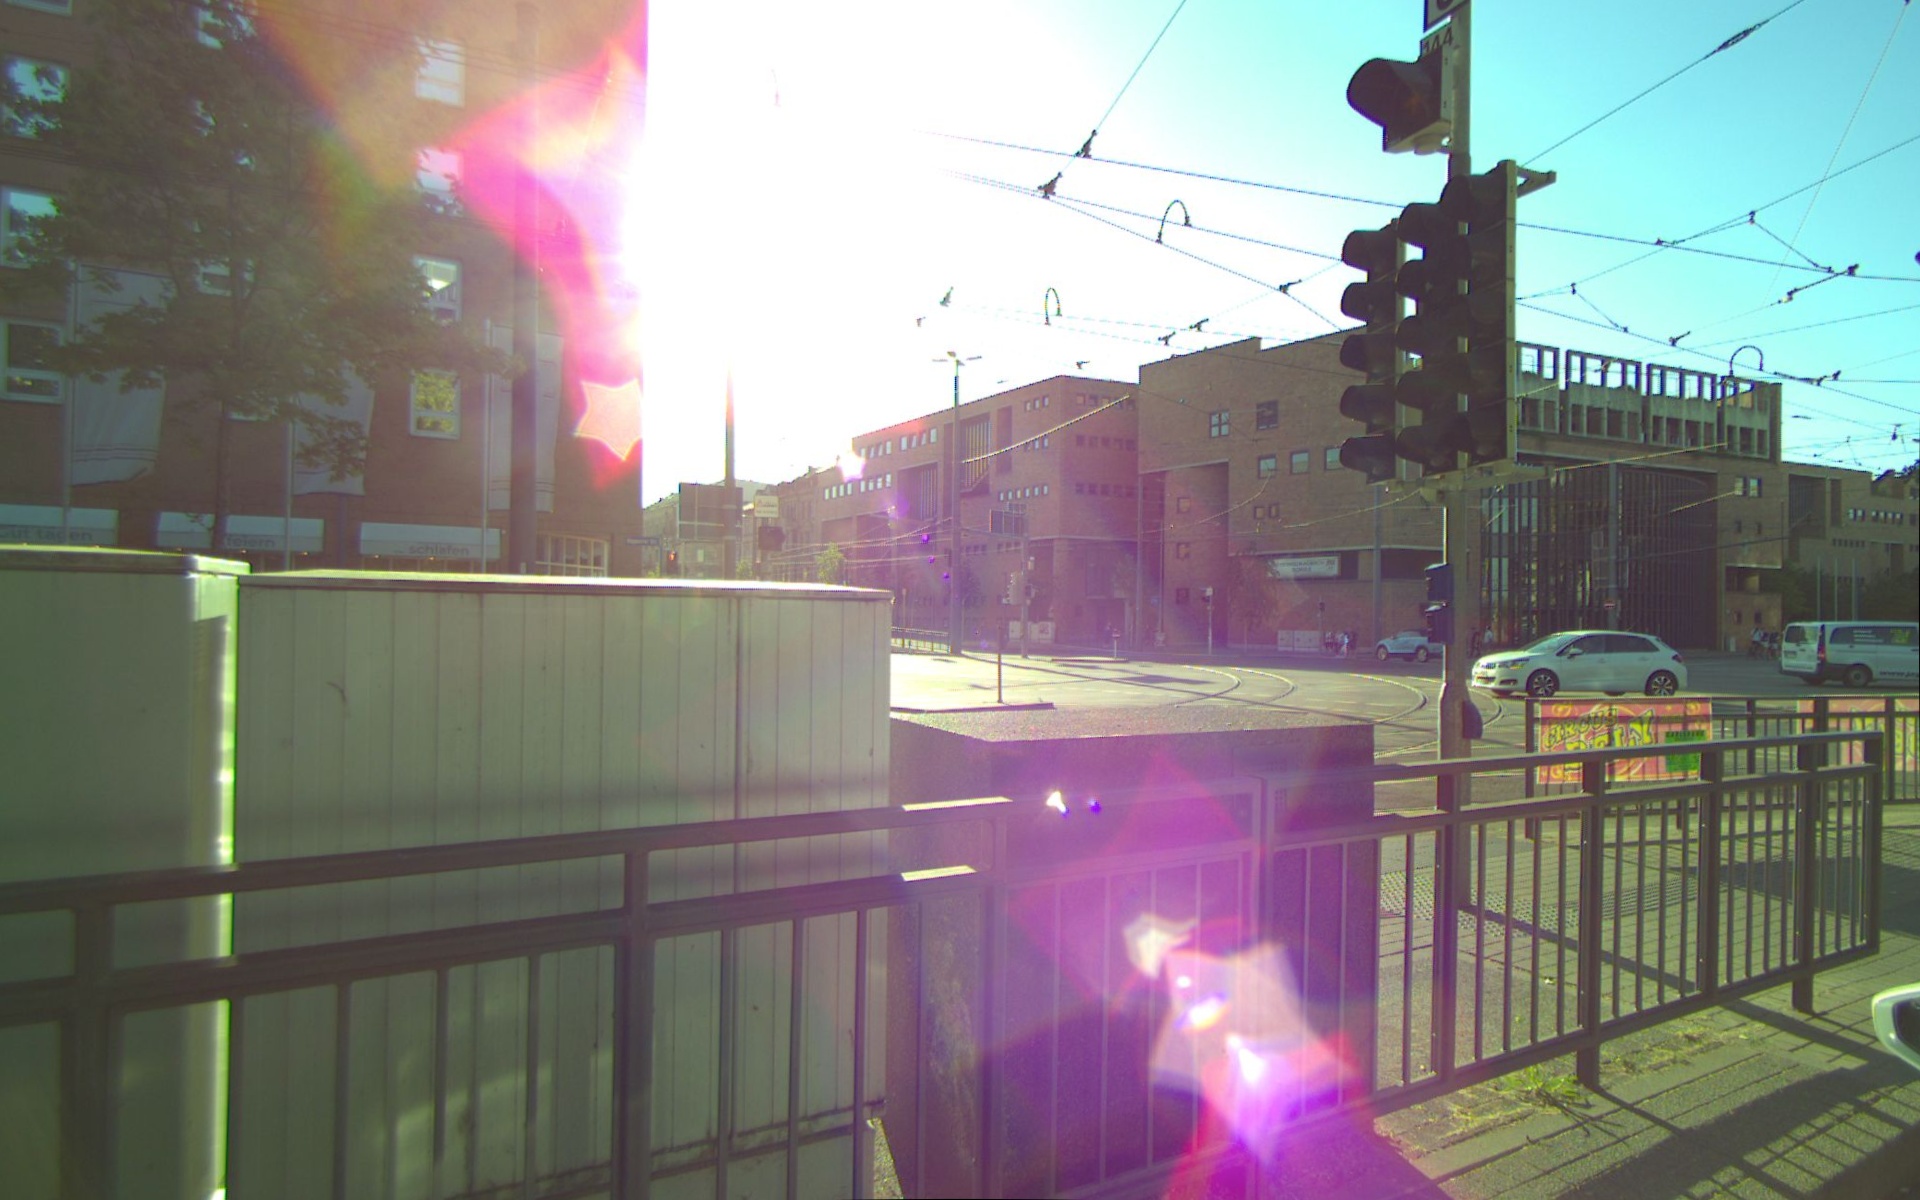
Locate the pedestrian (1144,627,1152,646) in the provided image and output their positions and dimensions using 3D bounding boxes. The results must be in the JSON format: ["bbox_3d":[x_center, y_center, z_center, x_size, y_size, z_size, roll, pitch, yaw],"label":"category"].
[{"bbox_3d":[14.268,2.773,76.298,0.523,1.482,0.591,0,-1,3],"label":"pedestrian"}]

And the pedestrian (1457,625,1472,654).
[{"bbox_3d":[29.327,2.303,58.394,0.540,1.706,0.572,1,-1,-12],"label":"pedestrian"}]

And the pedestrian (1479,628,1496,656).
[{"bbox_3d":[30.393,2.416,57.898,0.607,1.647,0.611,1,-1,-11],"label":"pedestrian"}]

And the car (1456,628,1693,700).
[{"bbox_3d":[13.672,1.404,22.516,4.223,1.508,1.762,0,-1,1],"label":"car"}]

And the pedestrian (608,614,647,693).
[{"bbox_3d":[-7.894,1.255,23.838,0.713,1.837,0.904,1,-1,-28],"label":"pedestrian"}]

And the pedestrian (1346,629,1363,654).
[{"bbox_3d":[22.251,2.339,56.699,0.670,1.357,0.603,1,-1,-14],"label":"pedestrian"}]

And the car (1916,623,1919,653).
[{"bbox_3d":[55.248,2.112,55.891,3.954,1.661,1.983,1,-2,-31],"label":"car"}]

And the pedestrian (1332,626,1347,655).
[{"bbox_3d":[21.764,2.329,57.591,0.543,1.670,0.596,1,-1,-30],"label":"pedestrian"}]

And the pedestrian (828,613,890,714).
[{"bbox_3d":[-1.722,1.058,17.084,0.709,1.669,0.953,1,-1,-30],"label":"pedestrian"}]

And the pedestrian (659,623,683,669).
[{"bbox_3d":[-10.516,1.658,36.525,0.658,1.669,0.638,1,-1,-34],"label":"pedestrian"}]

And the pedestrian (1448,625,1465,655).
[{"bbox_3d":[28.295,2.267,57.216,0.611,1.706,0.650,1,-1,-9],"label":"pedestrian"}]

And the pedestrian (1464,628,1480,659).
[{"bbox_3d":[28.665,2.412,56.205,0.541,1.706,0.591,1,-1,-11],"label":"pedestrian"}]

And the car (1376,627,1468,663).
[{"bbox_3d":[21.531,2.087,46.955,1.972,1.595,3.706,1,-1,-18],"label":"car"}]

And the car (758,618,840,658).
[{"bbox_3d":[-8.347,1.907,51.699,1.982,1.928,5.156,1,-2,-38],"label":"car"}]

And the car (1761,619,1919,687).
[{"bbox_3d":[26.534,1.493,28.830,5.222,1.873,1.969,0,-1,10],"label":"car"}]

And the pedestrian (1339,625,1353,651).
[{"bbox_3d":[22.555,2.229,58.663,0.611,1.473,0.562,2,-2,-45],"label":"pedestrian"}]

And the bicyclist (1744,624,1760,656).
[{"bbox_3d":[44.431,2.244,56.376,0.574,1.754,0.534,1,-1,-30],"label":"bicyclist"}]

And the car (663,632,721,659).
[{"bbox_3d":[-14.431,2.413,53.909,1.729,1.372,3.960,1,-2,-36],"label":"car"}]

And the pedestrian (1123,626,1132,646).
[{"bbox_3d":[12.422,2.667,74.367,0.463,1.482,0.505,1,-1,-37],"label":"pedestrian"}]

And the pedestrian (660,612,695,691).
[{"bbox_3d":[-6.829,1.234,24.250,0.647,1.864,0.835,1,-1,-28],"label":"pedestrian"}]

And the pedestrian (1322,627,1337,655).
[{"bbox_3d":[21.496,2.375,58.481,0.582,1.635,0.593,1,-1,-31],"label":"pedestrian"}]

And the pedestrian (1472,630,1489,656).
[{"bbox_3d":[29.695,2.446,57.359,0.589,1.440,0.640,1,-1,-14],"label":"pedestrian"}]

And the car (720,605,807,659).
[{"bbox_3d":[-9.446,1.516,47.933,1.982,2.419,5.156,1,-2,-38],"label":"car"}]

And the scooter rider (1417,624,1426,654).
[{"bbox_3d":[25.421,2.162,55.369,0.429,1.669,0.229,0,-1,15],"label":"scooter rider"}]

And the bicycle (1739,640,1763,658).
[{"bbox_3d":[44.415,2.756,56.380,1.568,0.976,0.539,1,-1,-30],"label":"bicycle"}]

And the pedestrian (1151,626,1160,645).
[{"bbox_3d":[14.744,2.668,75.729,0.549,1.445,0.556,0,-1,2],"label":"pedestrian"}]

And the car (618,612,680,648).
[{"bbox_3d":[-19.272,1.822,62.068,1.982,2.122,5.156,1,-2,-38],"label":"car"}]
